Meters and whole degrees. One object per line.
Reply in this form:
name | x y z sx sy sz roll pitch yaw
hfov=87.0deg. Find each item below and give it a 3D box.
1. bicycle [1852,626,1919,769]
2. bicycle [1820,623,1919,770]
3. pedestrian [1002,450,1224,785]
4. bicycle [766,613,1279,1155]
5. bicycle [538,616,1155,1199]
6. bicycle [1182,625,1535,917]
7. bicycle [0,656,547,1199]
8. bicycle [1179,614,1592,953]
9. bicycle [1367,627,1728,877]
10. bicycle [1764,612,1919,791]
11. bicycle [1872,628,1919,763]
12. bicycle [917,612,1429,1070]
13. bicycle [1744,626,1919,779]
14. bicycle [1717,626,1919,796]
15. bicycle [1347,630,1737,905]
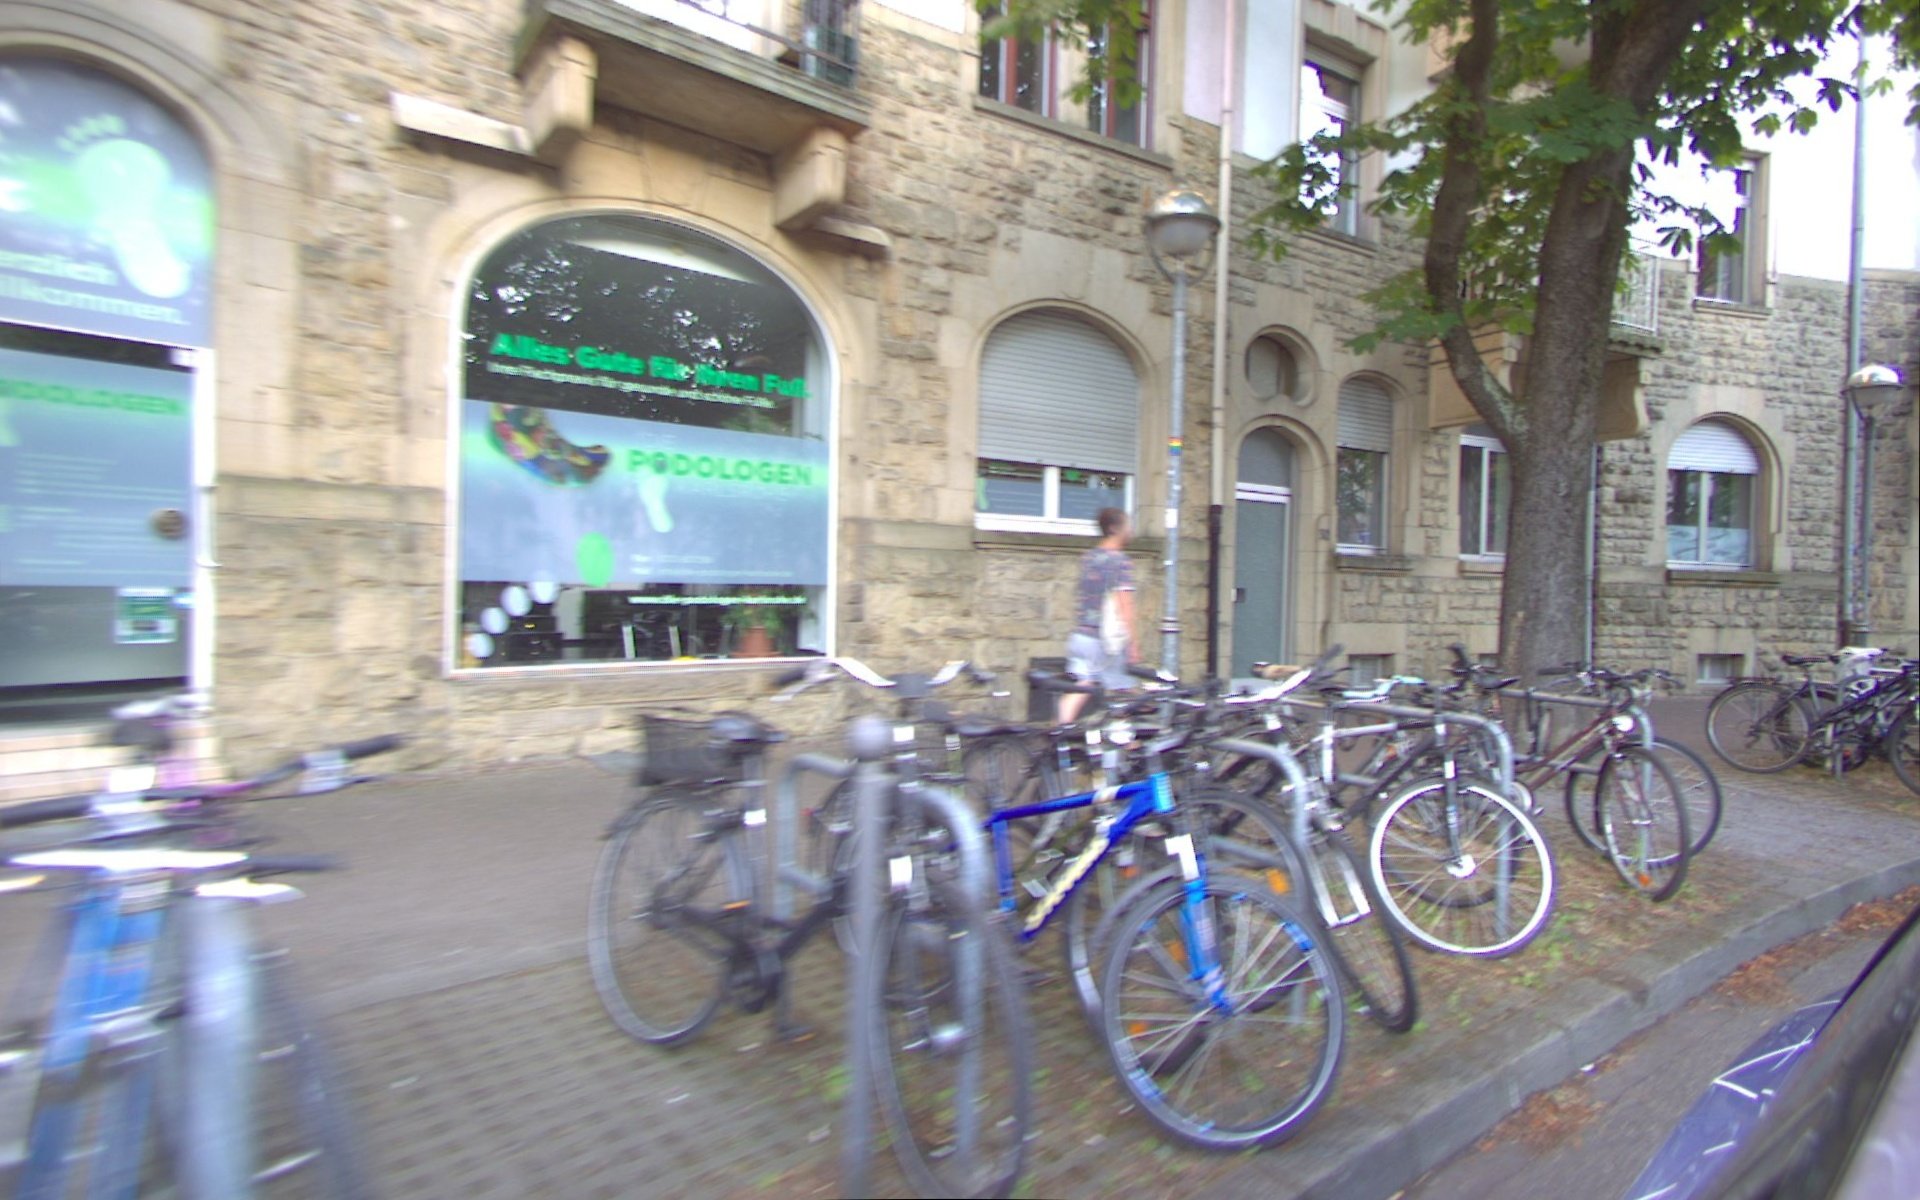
bicycle | 8.502 0.874 8.166 0.412 1.138 1.860 -18 7 -17
bicycle | 8.103 0.822 8.118 0.410 1.159 1.860 1 2 -18
pedestrian | 1.053 0.097 7.085 1.040 2.111 1.015 2 1 -33
bicycle | 0.051 0.678 3.324 0.628 1.177 1.892 1 2 -34
bicycle | -0.450 0.683 2.778 0.630 1.177 1.886 0 2 -45
bicycle | 1.850 0.721 4.979 0.476 1.091 1.678 1 2 -29
bicycle | -1.561 0.723 2.055 0.688 1.051 1.802 0 2 -45
bicycle | 1.773 0.700 4.513 0.476 1.142 1.678 8 -2 -27
bicycle | 3.198 0.752 5.674 0.477 1.091 1.675 1 2 -36
bicycle | 7.247 0.773 7.613 0.482 1.231 1.890 -5 3 -18
bicycle | 8.755 0.880 8.262 0.412 1.099 1.860 -18 7 -17
bicycle | 0.645 0.681 3.778 0.691 1.177 1.892 1 2 -35
bicycle | 7.550 0.823 8.158 0.564 1.118 1.853 0 2 -41
bicycle | 6.834 0.817 7.497 0.482 1.154 1.886 5 -2 -31
bicycle | 2.899 0.754 5.223 0.477 1.091 1.675 1 2 -36
